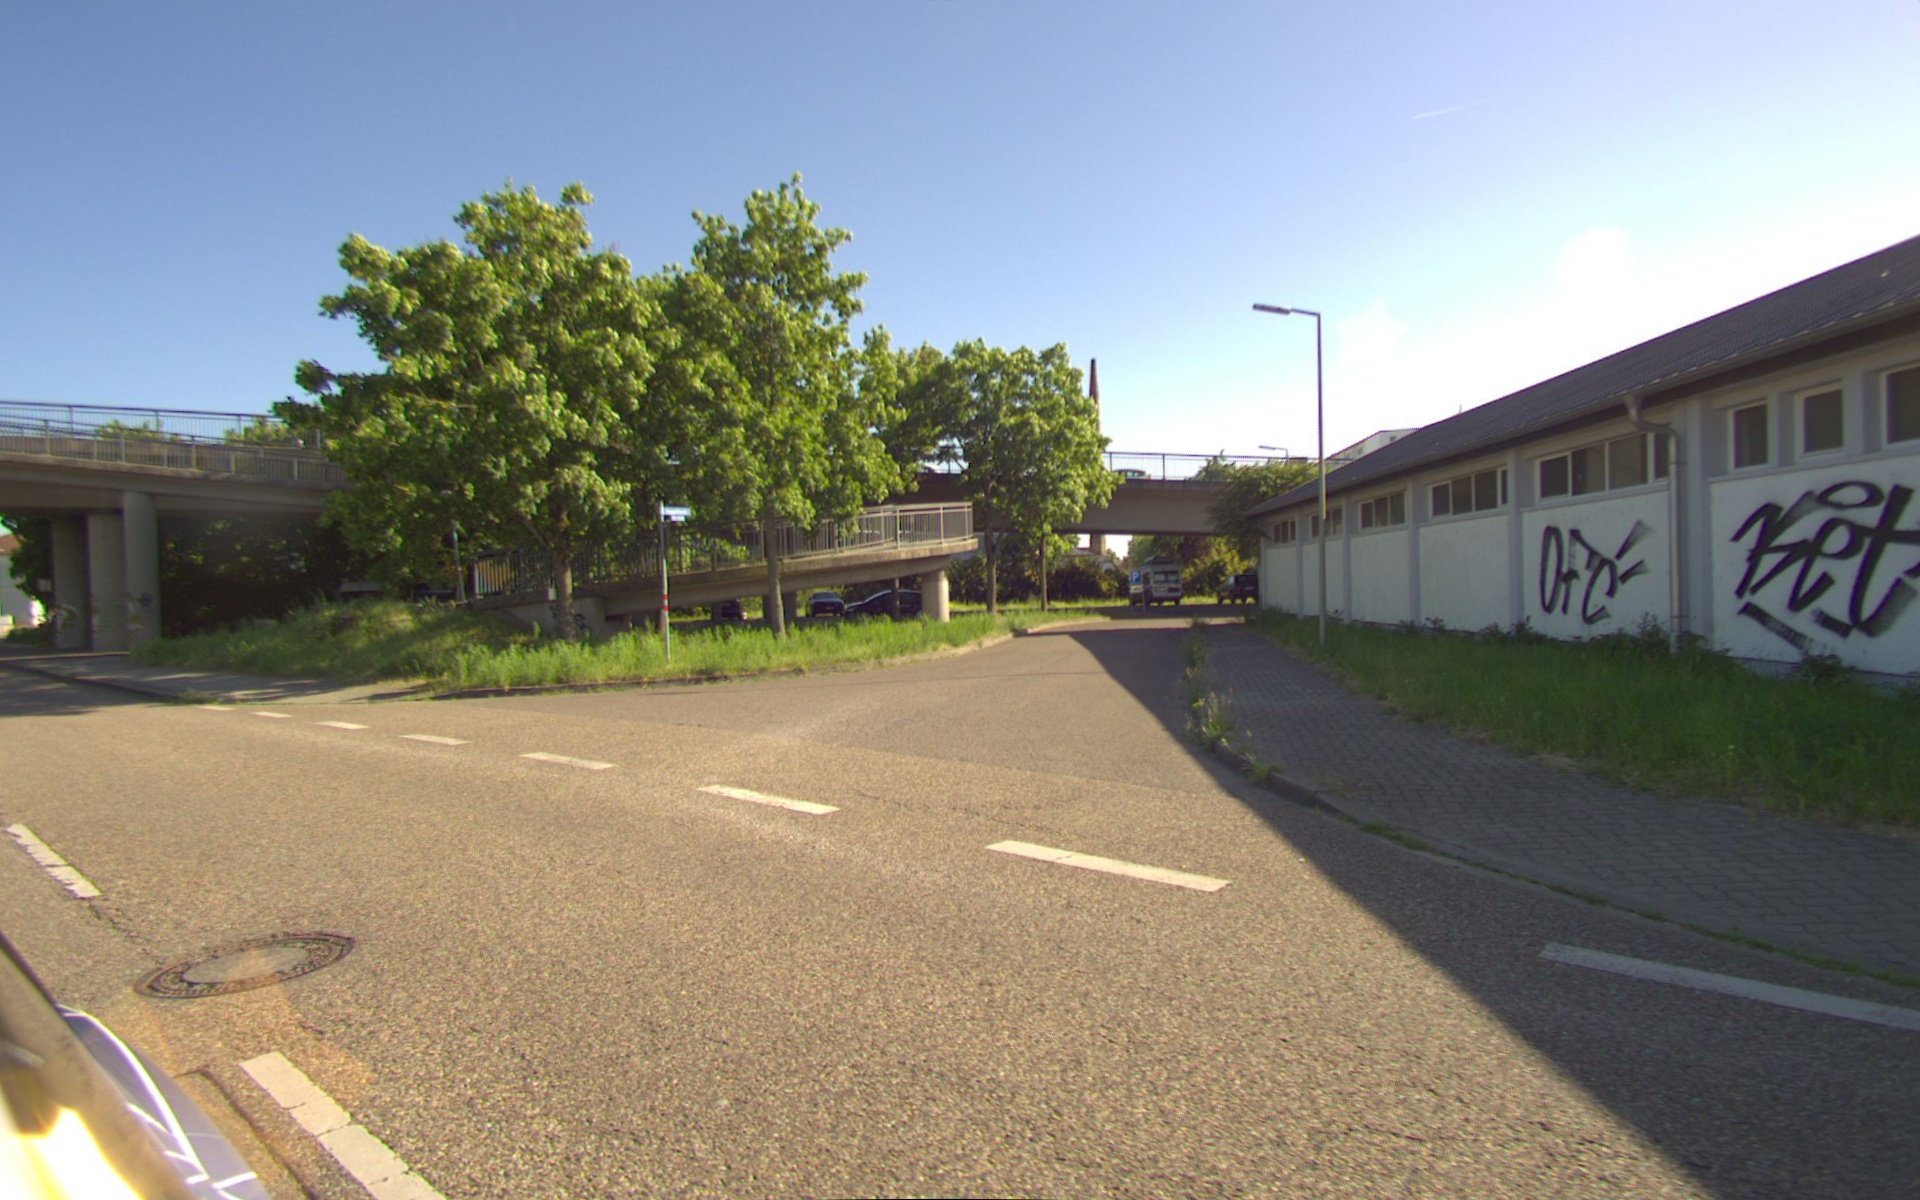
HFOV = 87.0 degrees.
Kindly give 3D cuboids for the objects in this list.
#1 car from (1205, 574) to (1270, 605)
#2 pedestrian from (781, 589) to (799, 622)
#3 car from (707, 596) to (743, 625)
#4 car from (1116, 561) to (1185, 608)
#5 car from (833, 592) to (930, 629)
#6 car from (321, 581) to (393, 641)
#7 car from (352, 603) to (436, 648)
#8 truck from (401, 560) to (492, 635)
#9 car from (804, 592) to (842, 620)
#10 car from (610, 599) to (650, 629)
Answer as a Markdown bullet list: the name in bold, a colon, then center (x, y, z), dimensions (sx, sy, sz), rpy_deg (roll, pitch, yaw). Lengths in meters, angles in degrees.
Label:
- **car**: center (15.899, -0.577, 58.252), dimensions (1.969, 1.656, 4.492), rpy_deg (-2, 0, -7)
- **pedestrian**: center (-8.900, 0.300, 52.960), dimensions (0.658, 1.675, 0.711), rpy_deg (-2, 0, -39)
- **car**: center (-12.780, 0.526, 54.817), dimensions (1.711, 1.453, 4.263), rpy_deg (-2, 0, -15)
- **car**: center (10.931, -0.862, 58.625), dimensions (1.969, 2.525, 6.416), rpy_deg (-2, 0, -7)
- **car**: center (-3.634, 0.460, 46.680), dimensions (4.226, 1.564, 1.688), rpy_deg (-1, 0, -14)
- **car**: center (-29.260, 0.532, 49.314), dimensions (1.913, 2.702, 6.028), rpy_deg (-2, -1, -20)
- **car**: center (-22.027, 0.989, 39.546), dimensions (1.838, 1.654, 4.294), rpy_deg (1, -1, -15)
- **truck**: center (-26.585, -0.137, 52.729), dimensions (2.441, 3.578, 7.989), rpy_deg (-2, 0, -14)
- **car**: center (-7.570, 0.317, 55.631), dimensions (1.711, 1.453, 4.261), rpy_deg (-2, 0, -12)
- **car**: center (-17.320, 0.685, 53.227), dimensions (1.711, 1.453, 4.263), rpy_deg (-2, 0, -15)
